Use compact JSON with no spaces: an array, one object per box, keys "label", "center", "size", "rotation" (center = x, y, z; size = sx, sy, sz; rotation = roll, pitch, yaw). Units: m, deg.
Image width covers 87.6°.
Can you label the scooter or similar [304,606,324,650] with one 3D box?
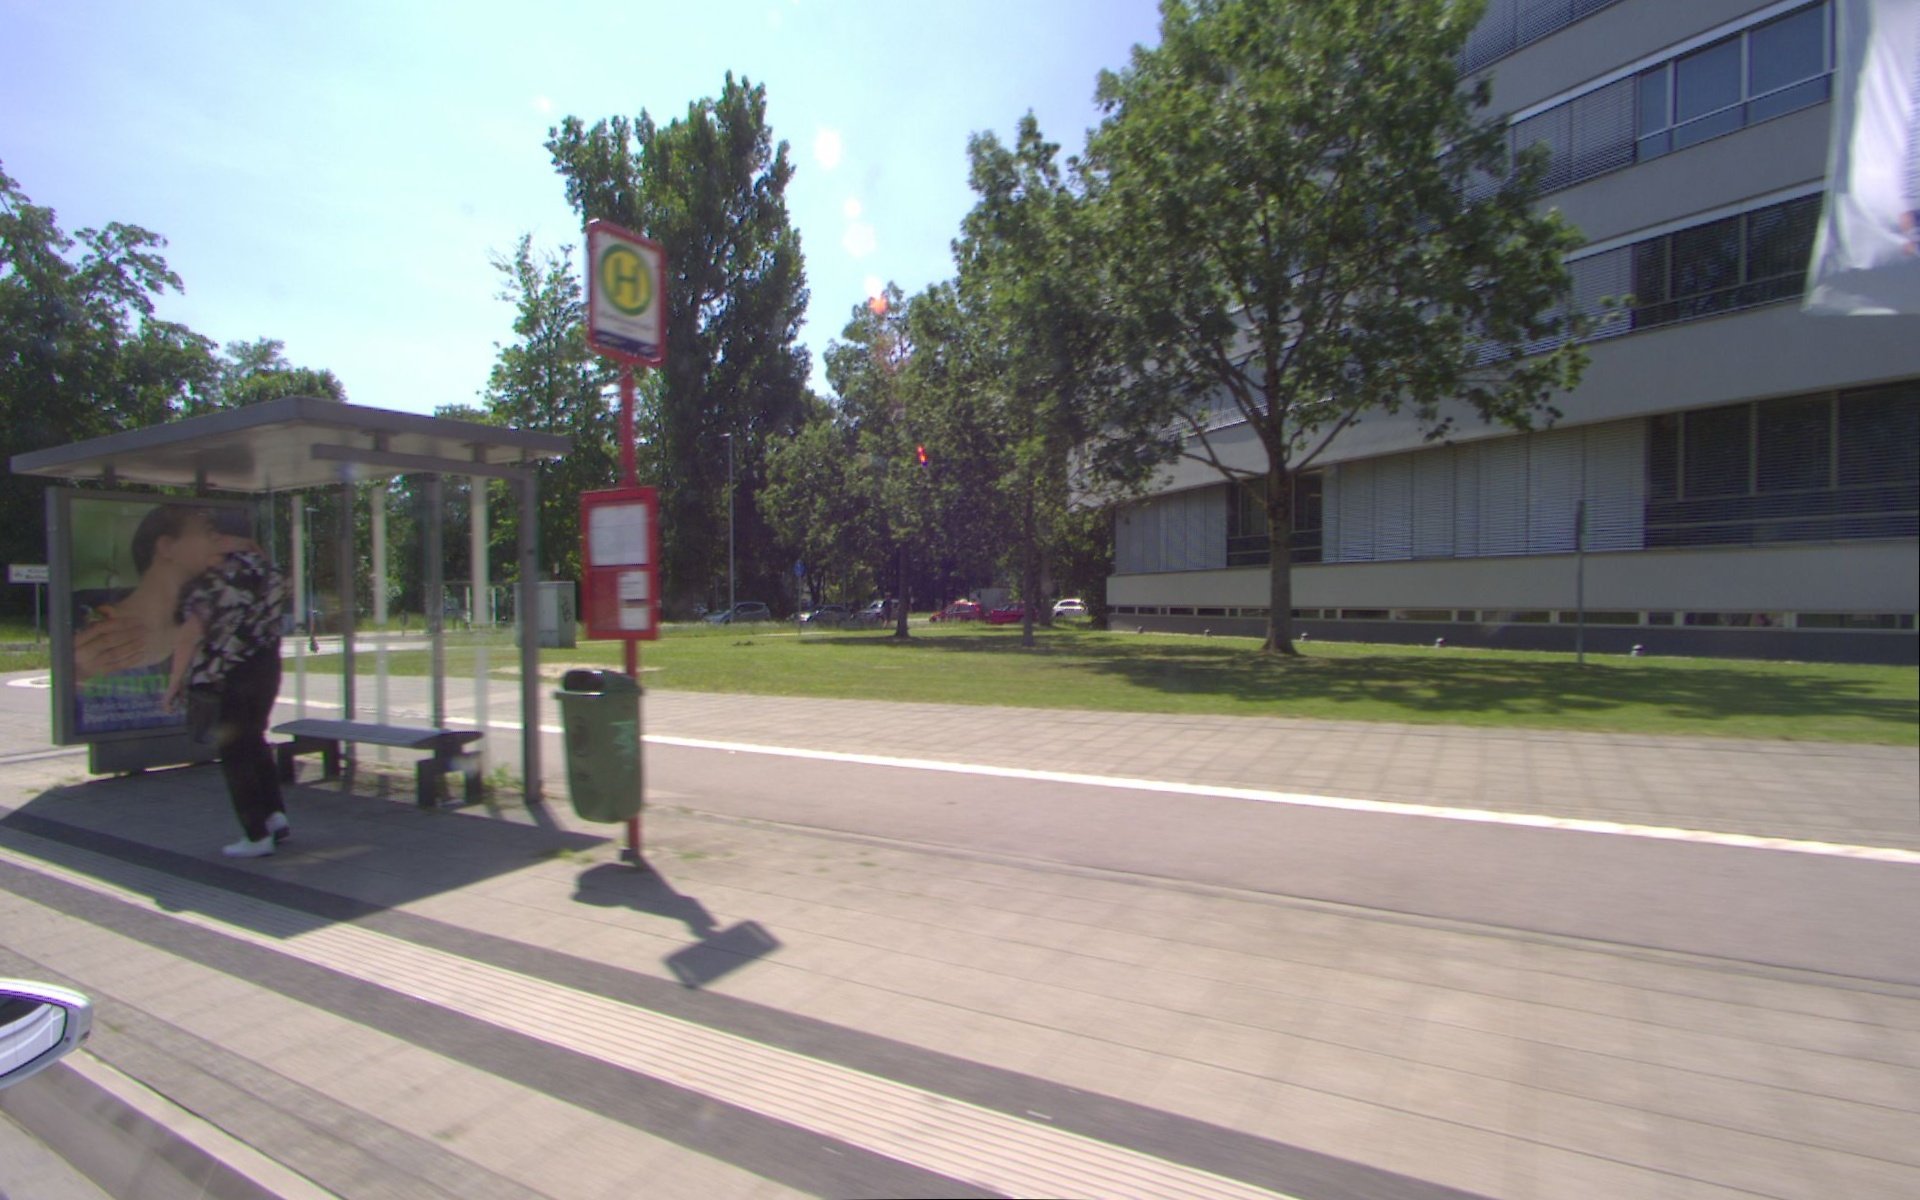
[{"label":"scooter or similar","center":[-18.642,0.798,28.904],"size":[0.442,1.217,1.390],"rotation":[0,-1,-32]}]

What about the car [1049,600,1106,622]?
[{"label":"car","center":[8.328,0.812,70.958],"size":[3.631,1.502,1.860],"rotation":[0,-1,31]}]

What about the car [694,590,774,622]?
[{"label":"car","center":[-12.292,0.355,54.678],"size":[1.768,1.627,4.098],"rotation":[0,-1,38]}]

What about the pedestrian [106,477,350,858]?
[{"label":"pedestrian","center":[-3.893,0.322,5.348],"size":[0.814,1.847,0.706],"rotation":[0,3,30]}]

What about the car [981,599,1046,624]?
[{"label":"car","center":[3.338,0.706,62.328],"size":[3.631,1.502,1.860],"rotation":[0,-1,31]}]

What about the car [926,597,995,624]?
[{"label":"car","center":[0.025,0.631,58.598],"size":[3.631,1.502,1.860],"rotation":[0,-1,31]}]

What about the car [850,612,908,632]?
[{"label":"car","center":[-5.567,1.496,68.965],"size":[1.972,1.327,3.977],"rotation":[0,-1,34]}]

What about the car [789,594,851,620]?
[{"label":"car","center":[-8.874,0.471,63.818],"size":[1.679,1.506,3.977],"rotation":[3,1,34]}]
